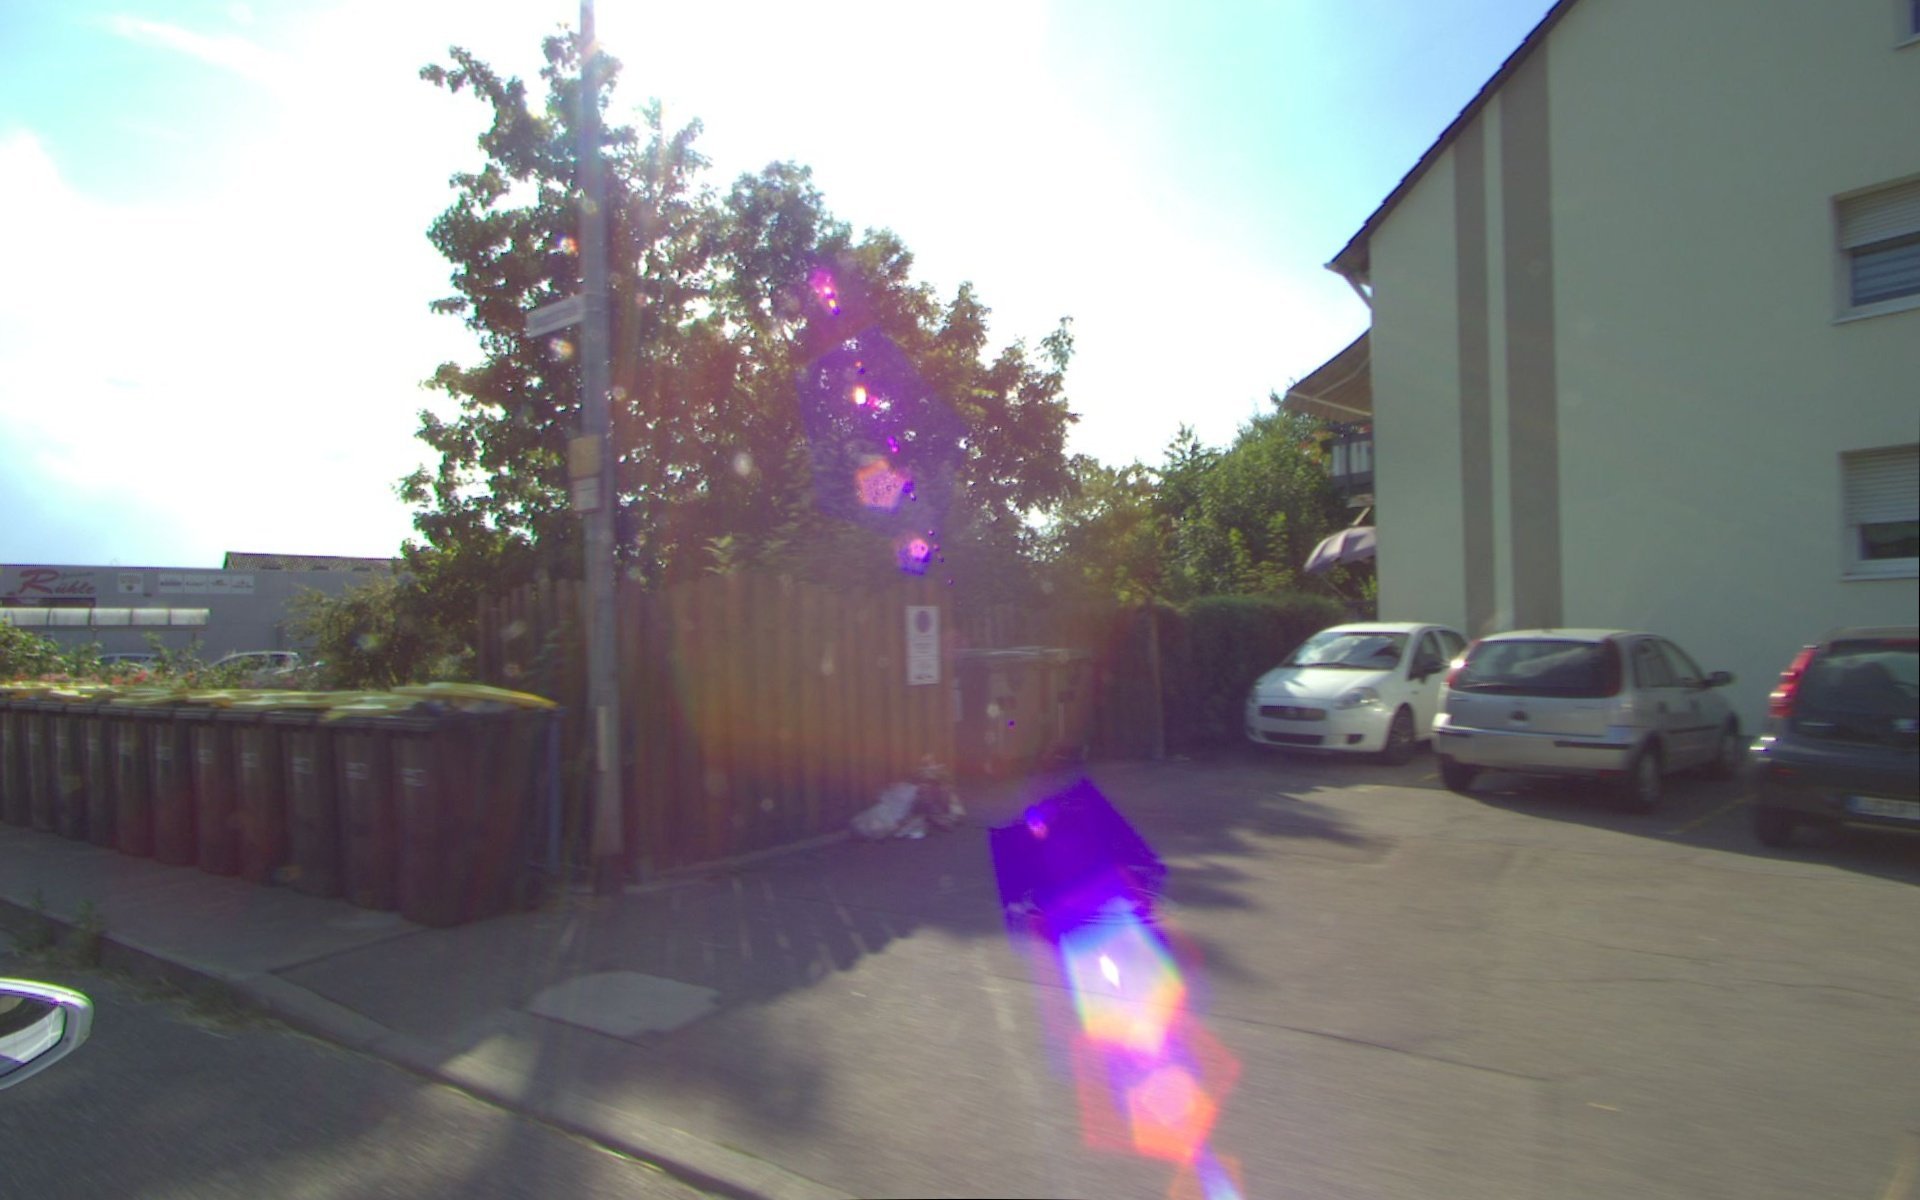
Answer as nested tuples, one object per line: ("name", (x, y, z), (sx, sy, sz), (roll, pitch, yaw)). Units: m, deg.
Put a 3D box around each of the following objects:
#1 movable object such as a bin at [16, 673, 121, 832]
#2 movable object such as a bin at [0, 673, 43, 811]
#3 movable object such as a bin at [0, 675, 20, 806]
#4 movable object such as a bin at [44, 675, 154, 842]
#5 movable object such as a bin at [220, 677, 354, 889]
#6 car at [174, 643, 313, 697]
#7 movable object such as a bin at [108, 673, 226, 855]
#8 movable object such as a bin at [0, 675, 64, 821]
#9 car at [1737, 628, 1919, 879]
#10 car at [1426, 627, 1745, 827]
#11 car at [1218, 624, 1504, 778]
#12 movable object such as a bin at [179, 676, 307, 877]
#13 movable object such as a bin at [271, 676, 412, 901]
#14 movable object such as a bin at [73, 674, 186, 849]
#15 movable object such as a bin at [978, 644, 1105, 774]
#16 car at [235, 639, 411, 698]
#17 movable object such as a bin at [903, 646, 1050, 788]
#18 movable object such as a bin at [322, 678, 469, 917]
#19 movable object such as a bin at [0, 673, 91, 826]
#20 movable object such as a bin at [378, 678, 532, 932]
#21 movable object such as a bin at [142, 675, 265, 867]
("movable object such as a bin", (-6.919, 1.153, 7.771), (0.531, 1.158, 0.478), (-2, -1, 32))
("movable object such as a bin", (-8.372, 1.222, 8.694), (0.531, 1.158, 0.478), (-2, -1, 32))
("movable object such as a bin", (-8.858, 1.265, 8.995), (0.531, 1.158, 0.478), (-2, -1, 32))
("movable object such as a bin", (-6.403, 1.148, 7.451), (0.556, 1.158, 0.478), (-2, -1, 32))
("movable object such as a bin", (-3.981, 1.046, 5.931), (0.531, 1.158, 0.478), (-2, -1, 32))
("car", (-22.170, 2.152, 31.021), (3.408, 1.435, 1.487), (-1, -2, -39))
("movable object such as a bin", (-5.415, 1.088, 6.841), (0.531, 1.158, 0.478), (-2, -1, 32))
("movable object such as a bin", (-7.896, 1.220, 8.368), (0.531, 1.158, 0.478), (-2, -1, 32))
("car", (6.848, 0.925, 6.878), (3.181, 1.469, 1.638), (1, -2, -38))
("car", (5.682, 0.986, 8.998), (3.103, 1.469, 1.563), (1, -2, -40))
("car", (4.683, 1.031, 11.463), (3.718, 1.468, 1.621), (1, -3, -43))
("movable object such as a bin", (-4.459, 1.063, 6.230), (0.531, 1.158, 0.478), (-2, -1, 32))
("movable object such as a bin", (-3.469, 1.019, 5.622), (0.535, 1.158, 0.478), (-2, -1, 32))
("movable object such as a bin", (-5.929, 1.123, 7.151), (0.531, 1.158, 0.478), (-2, -1, 32))
("movable object such as a bin", (0.916, 1.186, 11.295), (1.034, 1.354, 0.994), (1, -2, -45))
("car", (-17.646, 1.871, 27.836), (3.912, 1.466, 1.668), (0, -3, -43))
("movable object such as a bin", (0.178, 1.171, 10.460), (1.035, 1.354, 1.145), (-2, -2, 43))
("movable object such as a bin", (-2.993, 1.007, 5.316), (0.531, 1.158, 0.478), (-2, -1, 32))
("movable object such as a bin", (-7.406, 1.177, 8.069), (0.531, 1.158, 0.478), (-2, -1, 32))
("movable object such as a bin", (-2.532, 0.986, 5.024), (0.531, 1.158, 0.478), (-2, -1, 32))
("movable object such as a bin", (-4.928, 1.082, 6.525), (0.531, 1.158, 0.478), (-2, -1, 32))
